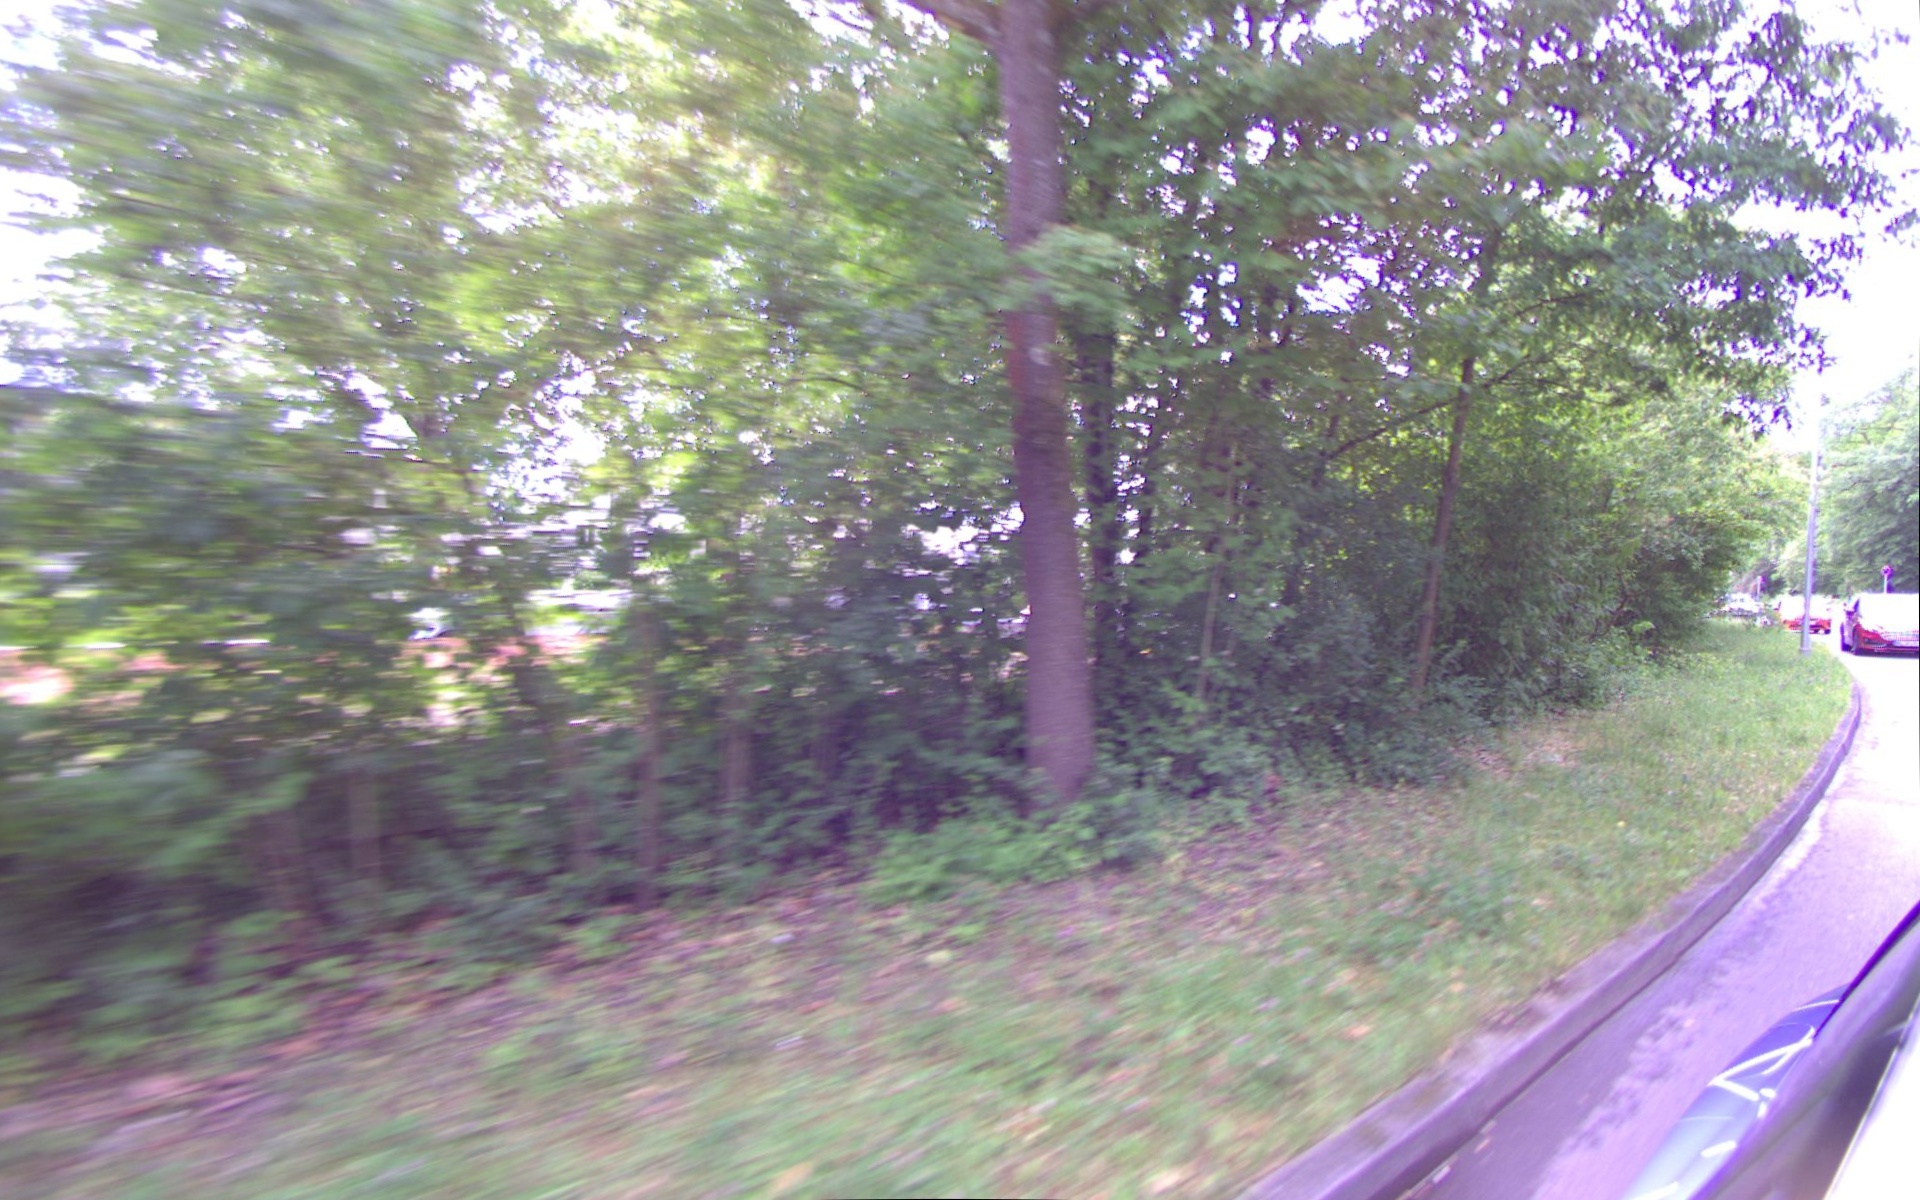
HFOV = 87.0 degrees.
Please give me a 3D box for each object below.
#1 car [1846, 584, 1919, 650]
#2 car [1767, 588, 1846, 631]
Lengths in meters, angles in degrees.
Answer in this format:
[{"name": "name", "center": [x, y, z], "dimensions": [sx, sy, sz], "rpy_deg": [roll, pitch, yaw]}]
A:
[{"name": "car", "center": [25.298, 0.426, 27.119], "dimensions": [1.851, 1.638, 4.419], "rpy_deg": [1, 1, 35]}, {"name": "car", "center": [35.168, 0.367, 42.158], "dimensions": [1.986, 1.593, 3.953], "rpy_deg": [4, 2, 33]}]
